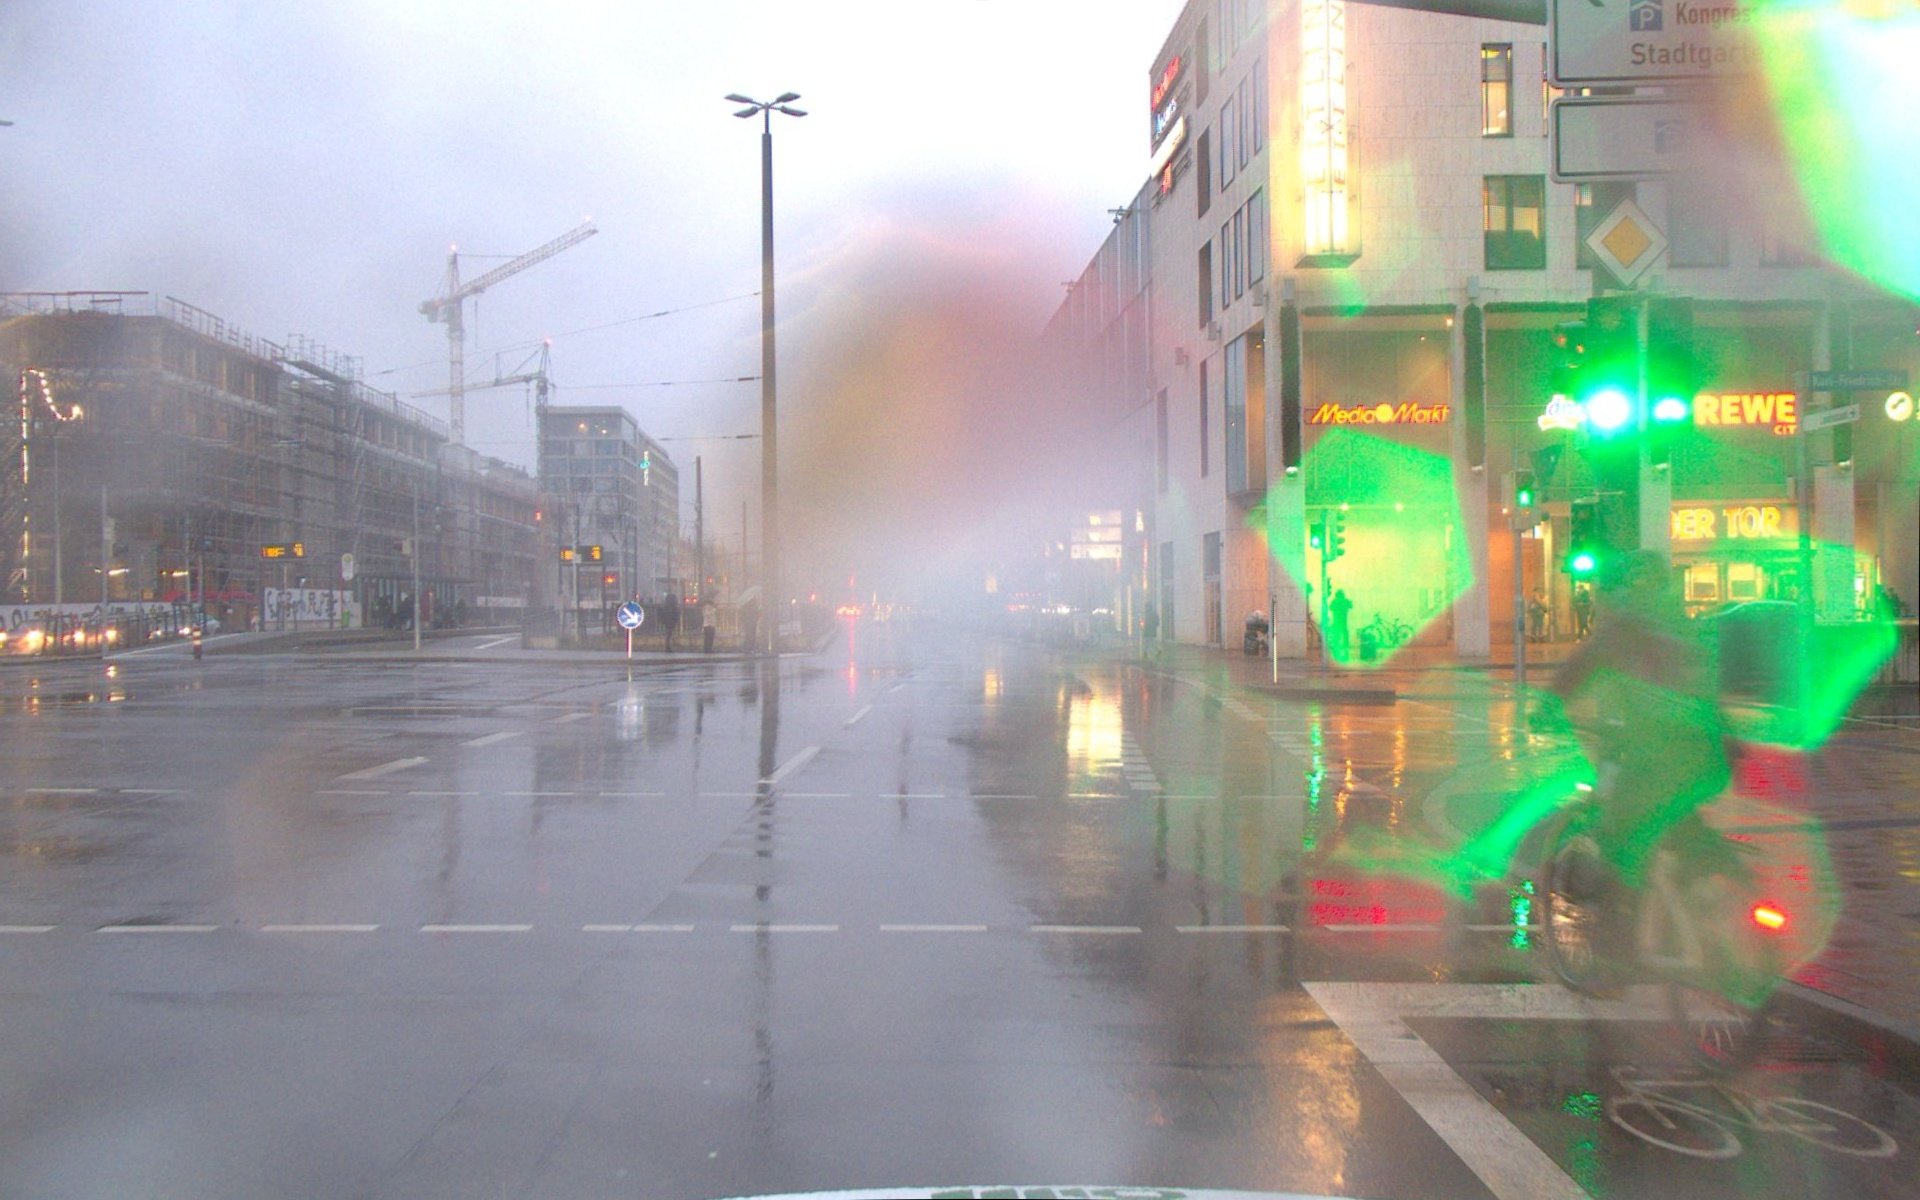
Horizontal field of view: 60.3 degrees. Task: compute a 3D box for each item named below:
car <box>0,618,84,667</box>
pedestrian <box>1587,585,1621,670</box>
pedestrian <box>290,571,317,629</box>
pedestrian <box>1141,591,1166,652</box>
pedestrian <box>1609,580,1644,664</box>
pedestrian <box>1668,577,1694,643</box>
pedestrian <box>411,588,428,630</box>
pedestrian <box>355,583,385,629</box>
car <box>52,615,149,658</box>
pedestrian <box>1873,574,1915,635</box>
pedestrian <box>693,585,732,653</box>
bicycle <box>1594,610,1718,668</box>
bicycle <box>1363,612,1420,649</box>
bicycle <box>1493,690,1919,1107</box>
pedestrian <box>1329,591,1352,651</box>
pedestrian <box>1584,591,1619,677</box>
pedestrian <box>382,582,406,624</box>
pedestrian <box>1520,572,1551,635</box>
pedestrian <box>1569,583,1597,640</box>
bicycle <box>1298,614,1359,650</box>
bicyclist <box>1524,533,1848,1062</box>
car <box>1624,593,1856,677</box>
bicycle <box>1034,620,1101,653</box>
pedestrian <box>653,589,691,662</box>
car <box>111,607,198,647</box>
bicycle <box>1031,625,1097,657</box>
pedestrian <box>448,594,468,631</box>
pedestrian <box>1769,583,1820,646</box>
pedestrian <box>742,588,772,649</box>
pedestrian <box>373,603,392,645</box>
[{"bbox_3d":[-36.862,1.655,66.224,1.830,1.860,3.993,1,-1,-8],"label":"car"},{"bbox_3d":[19.094,0.803,49.041,0.675,2.484,0.758,1,-1,-1],"label":"pedestrian"},{"bbox_3d":[-26.941,0.007,67.931,0.750,2.364,0.762,1,-2,-1],"label":"pedestrian"},{"bbox_3d":[5.654,0.627,48.423,0.624,1.739,0.573,-1,-1,-2],"label":"pedestrian"},{"bbox_3d":[19.872,0.650,49.322,0.679,2.491,0.791,1,-1,-1],"label":"pedestrian"},{"bbox_3d":[20.499,0.282,47.027,0.540,1.858,0.361,-1,-1,0],"label":"pedestrian"},{"bbox_3d":[-26.067,0.450,79.808,0.559,2.002,0.664,2,-1,-7],"label":"pedestrian"},{"bbox_3d":[-26.758,0.286,75.012,0.922,2.049,1.094,1,-1,0],"label":"pedestrian"},{"bbox_3d":[-37.576,1.564,72.406,1.952,1.822,4.001,1,0,3],"label":"car"},{"bbox_3d":[26.836,0.139,47.514,0.875,1.714,0.528,-1,-1,-1],"label":"pedestrian"},{"bbox_3d":[-6.884,0.519,45.984,0.813,1.863,0.777,1,-1,-31],"label":"pedestrian"},{"bbox_3d":[17.172,0.948,40.847,2.659,1.383,0.957,-1,-1,-5],"label":"bicycle"},{"bbox_3d":[13.176,0.932,50.498,1.614,1.088,0.524,1,-1,-5],"label":"bicycle"},{"bbox_3d":[2.497,0.923,5.748,0.693,1.113,1.784,0,0,-1],"label":"bicycle"},{"bbox_3d":[11.360,0.639,49.402,0.587,1.775,0.525,1,-1,7],"label":"pedestrian"},{"bbox_3d":[18.583,0.981,47.934,0.700,2.484,0.758,1,-1,-1],"label":"pedestrian"},{"bbox_3d":[-27.455,0.148,80.241,0.925,2.049,1.091,1,-1,-11],"label":"pedestrian"},{"bbox_3d":[18.774,0.106,53.979,0.828,2.049,0.698,-1,0,8],"label":"pedestrian"},{"bbox_3d":[19.354,0.366,51.355,0.721,1.748,0.738,-1,-1,27],"label":"pedestrian"},{"bbox_3d":[11.220,0.971,50.336,1.734,1.088,0.523,1,-1,-9],"label":"bicycle"},{"bbox_3d":[2.491,0.628,5.781,0.688,1.689,0.964,-1,0,-1],"label":"bicyclist"},{"bbox_3d":[16.248,0.713,34.597,3.905,1.646,2.000,1,-1,0],"label":"car"},{"bbox_3d":[3.962,1.348,61.148,2.393,1.174,0.674,-1,-1,-2],"label":"bicycle"},{"bbox_3d":[-8.130,0.714,46.665,0.771,2.049,0.724,0,-1,41],"label":"pedestrian"},{"bbox_3d":[-37.898,1.254,77.953,1.952,1.822,4.001,1,0,3],"label":"car"},{"bbox_3d":[3.899,1.529,61.966,2.376,1.118,0.711,-1,-1,-3],"label":"bicycle"},{"bbox_3d":[-28.156,0.715,92.787,0.925,2.049,1.091,1,-1,-11],"label":"pedestrian"},{"bbox_3d":[23.149,0.406,45.889,1.009,1.713,0.824,1,-1,-1],"label":"pedestrian"},{"bbox_3d":[-5.786,0.521,47.084,0.601,1.715,0.575,0,-1,41],"label":"pedestrian"},{"bbox_3d":[-26.575,1.123,76.127,0.684,1.914,0.553,1,-1,-2],"label":"pedestrian"}]
